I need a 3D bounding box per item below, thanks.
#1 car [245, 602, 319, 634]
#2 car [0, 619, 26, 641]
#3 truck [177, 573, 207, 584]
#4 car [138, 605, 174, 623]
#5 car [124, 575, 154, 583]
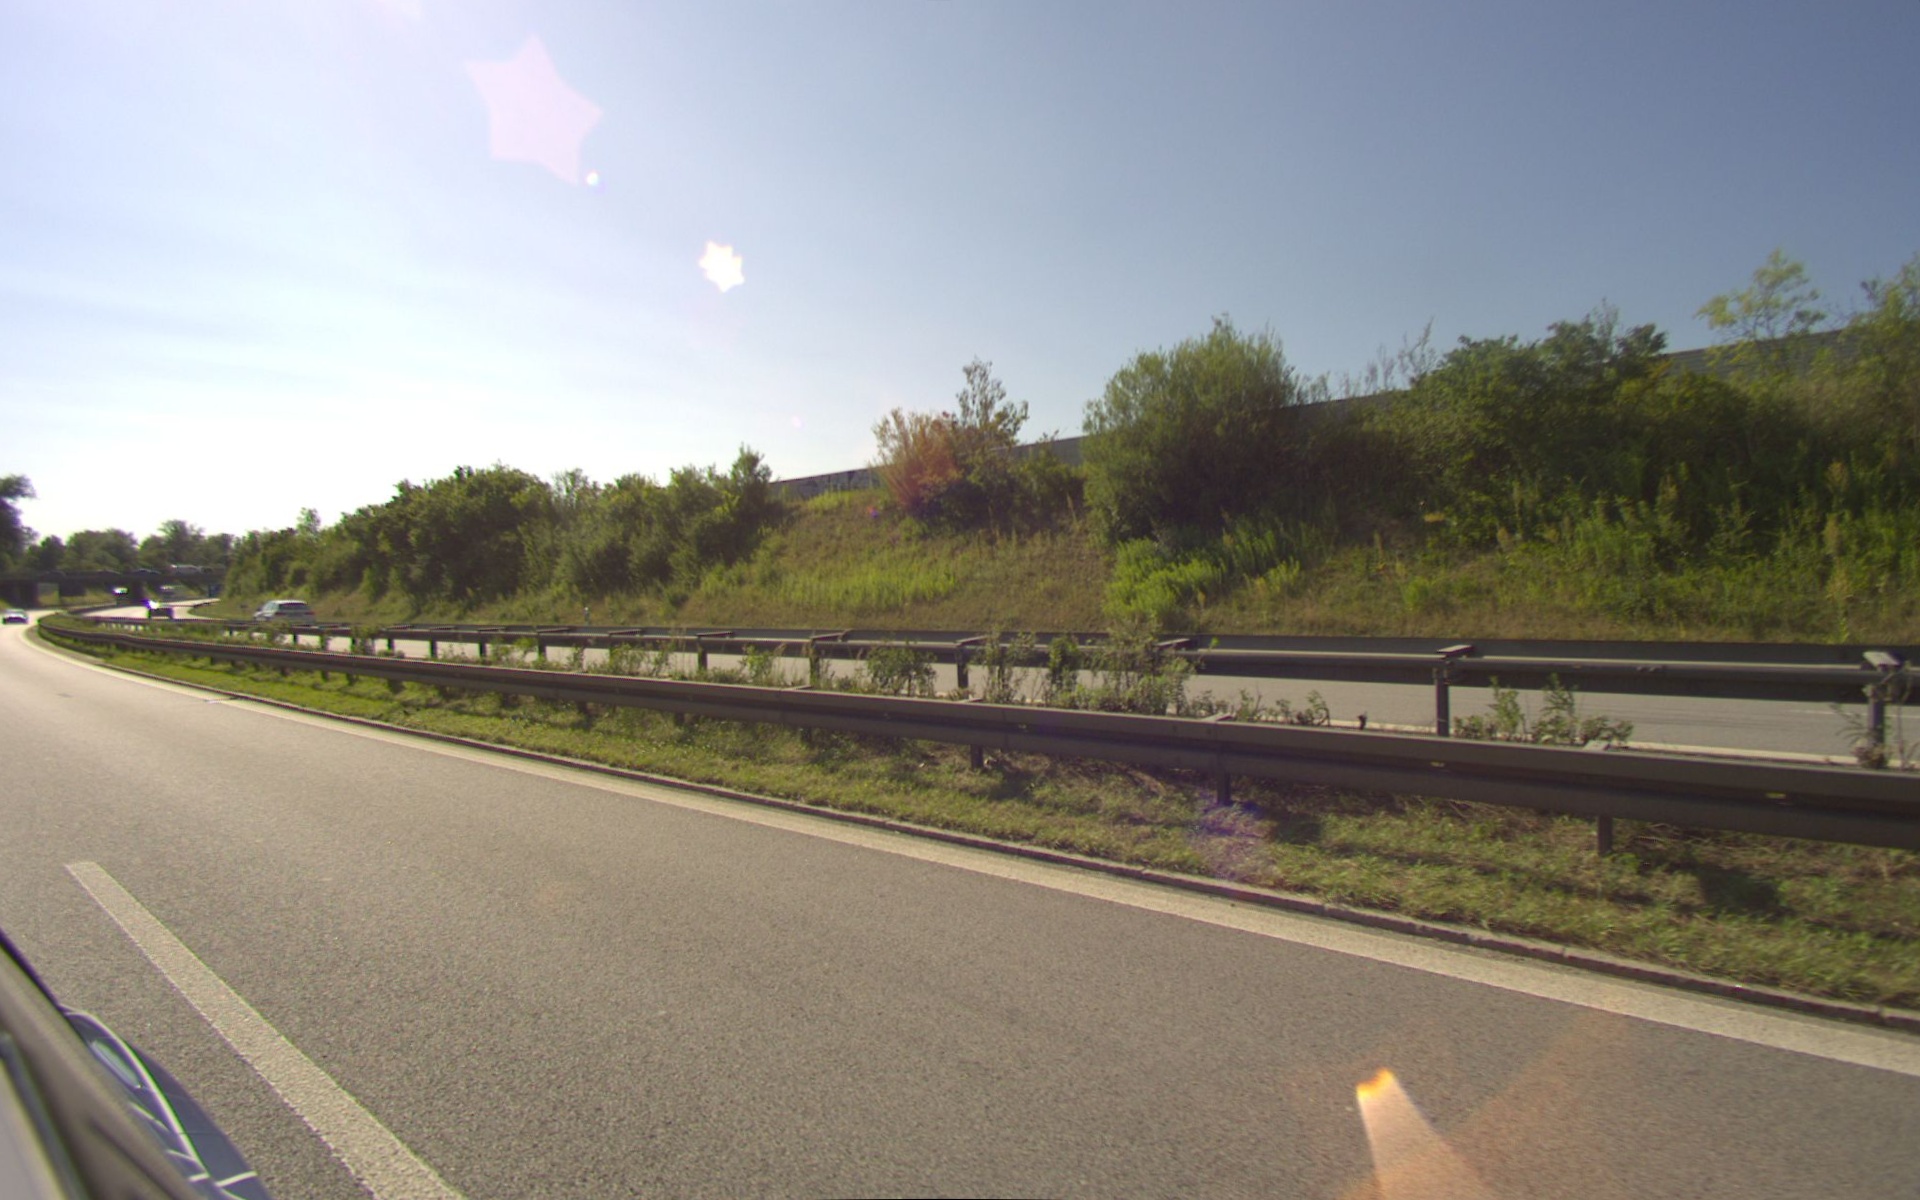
[{"bbox_3d":[-31.559,0.851,47.066,4.397,1.433,1.879,-2,-1,42],"label":"car"},{"bbox_3d":[-91.976,2.888,98.069,1.970,2.028,4.604,-4,2,-43],"label":"car"},{"bbox_3d":[-154.387,-4.421,203.489,4.791,2.183,2.005,-1,2,-34],"label":"truck"},{"bbox_3d":[-74.471,1.272,93.701,5.176,1.576,1.945,0,-1,45],"label":"car"},{"bbox_3d":[-161.230,-4.056,198.765,4.368,1.567,1.912,-1,2,-34],"label":"car"}]
